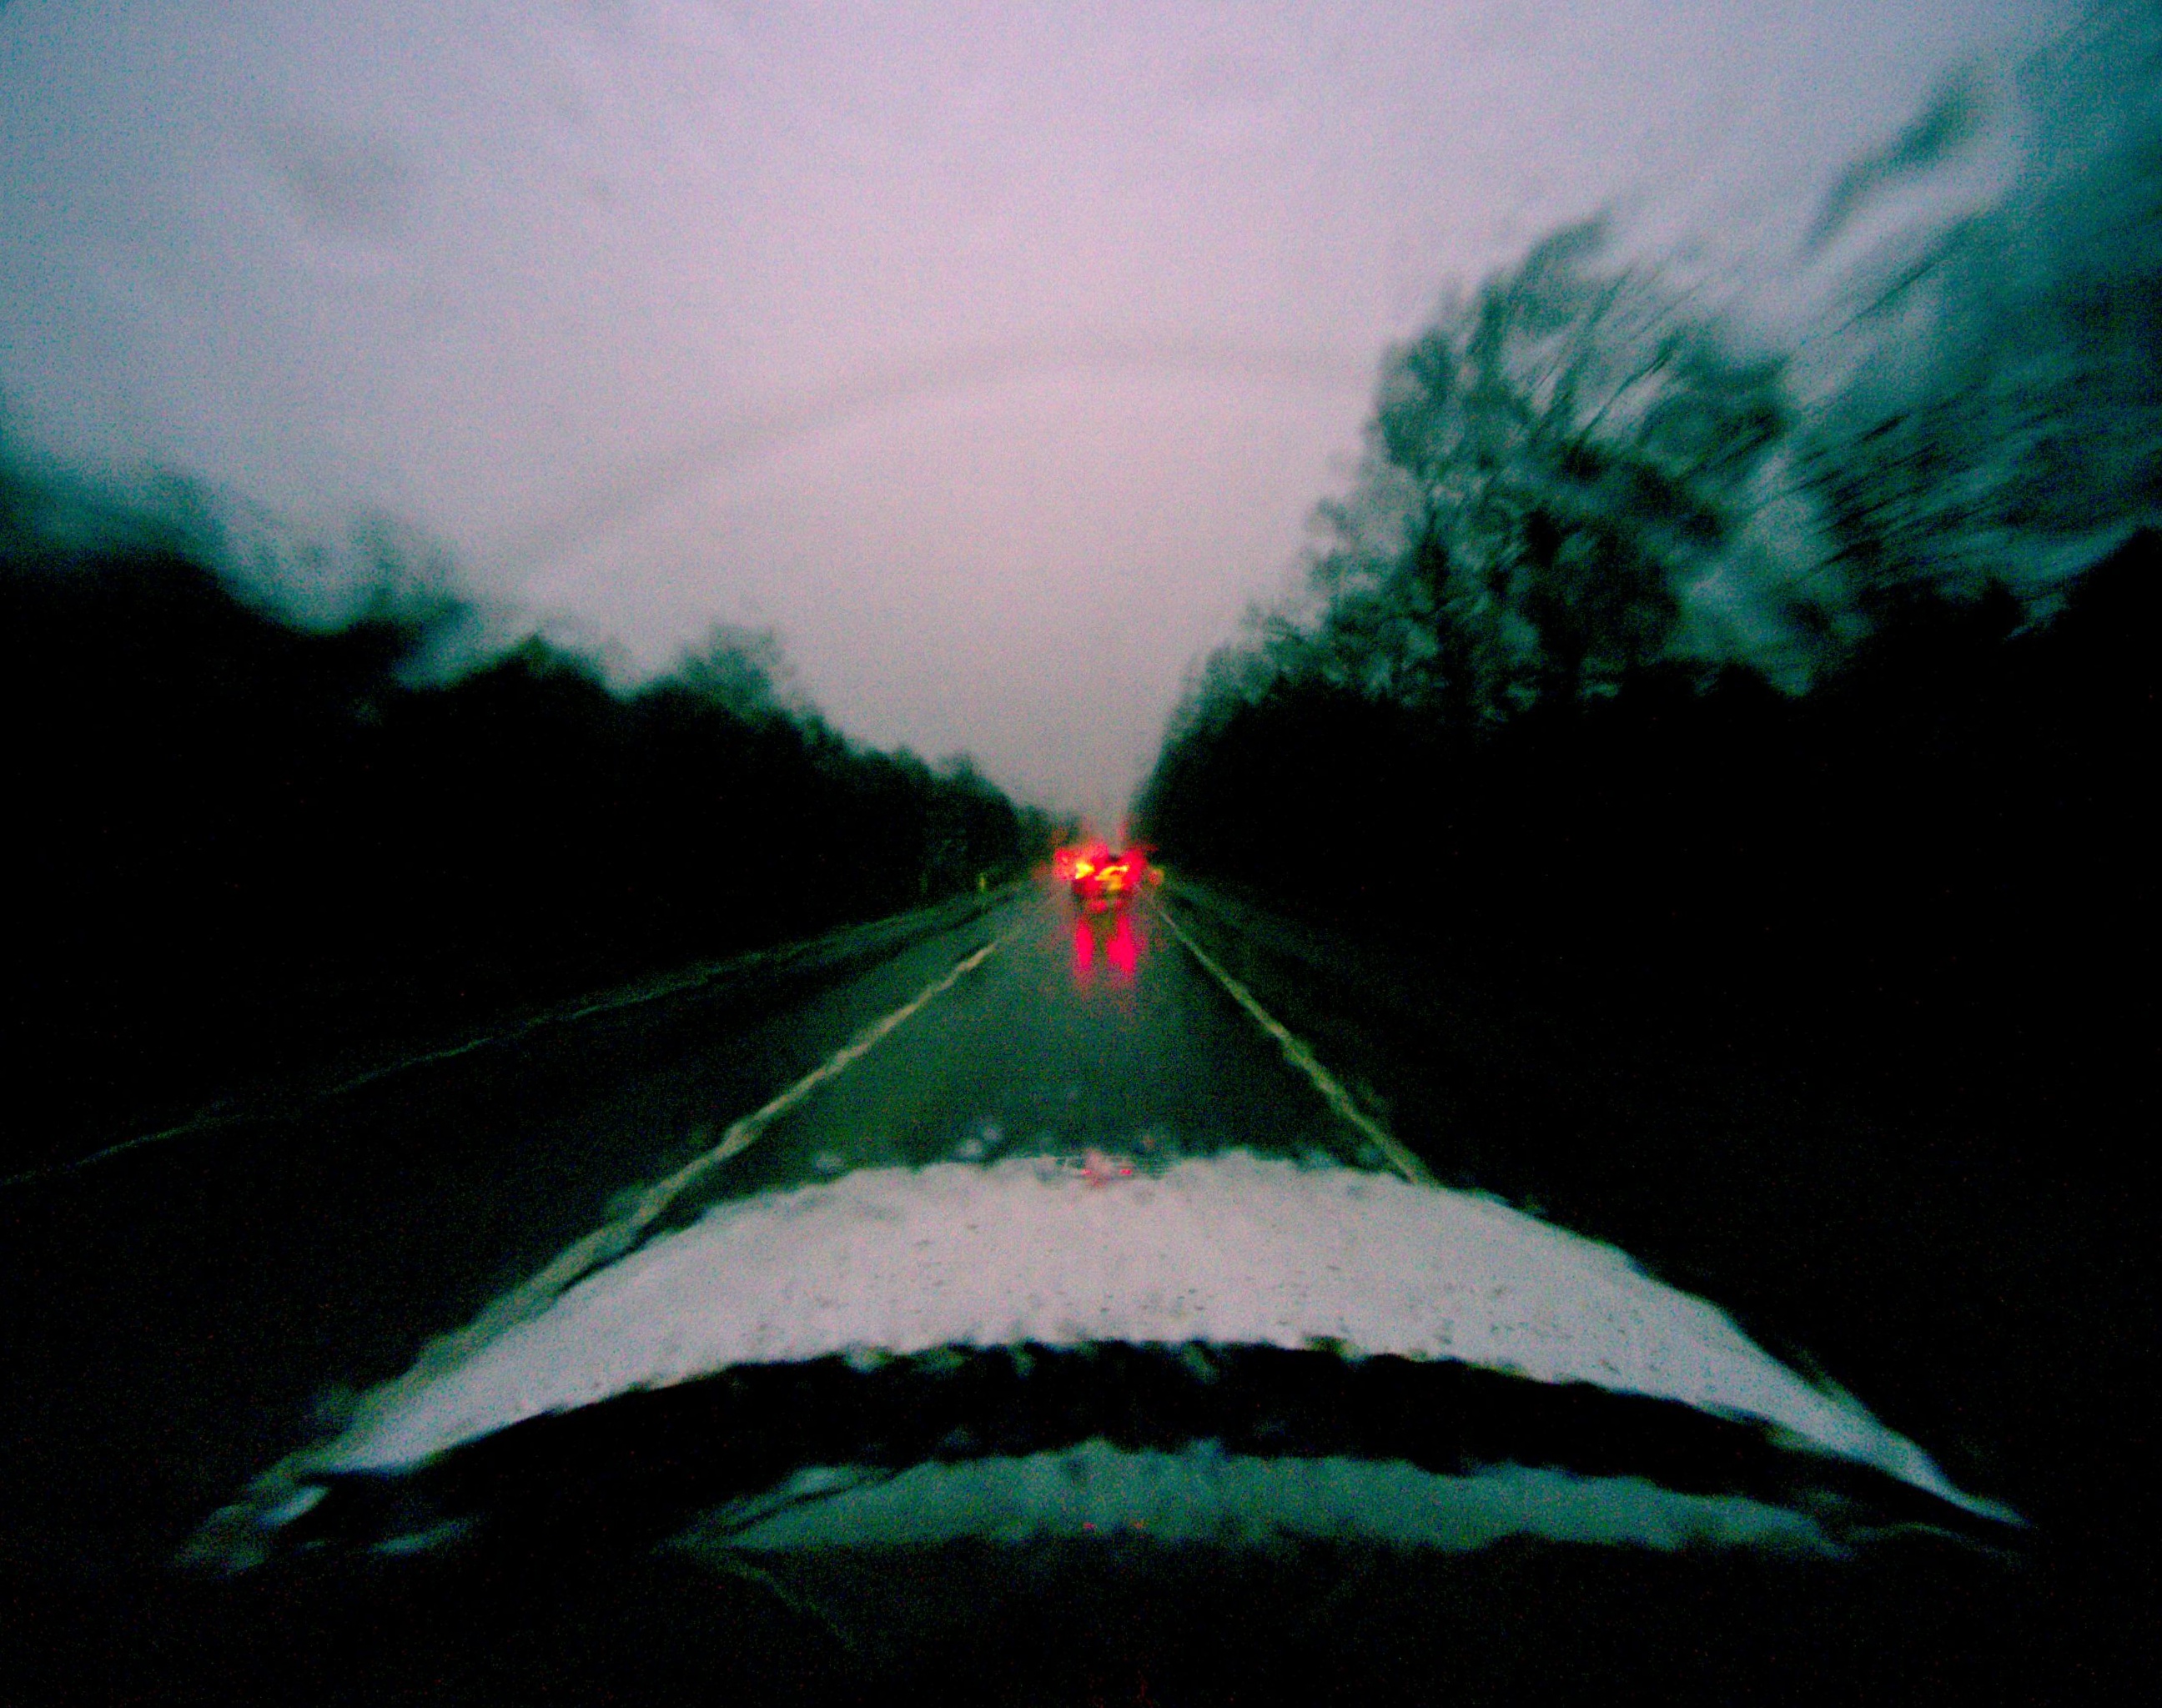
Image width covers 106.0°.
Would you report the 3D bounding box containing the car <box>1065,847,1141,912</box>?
[{"bbox_3d":[0.715,0.751,25.971,2.190,1.878,4.829,0,-1,2],"label":"car"}]
